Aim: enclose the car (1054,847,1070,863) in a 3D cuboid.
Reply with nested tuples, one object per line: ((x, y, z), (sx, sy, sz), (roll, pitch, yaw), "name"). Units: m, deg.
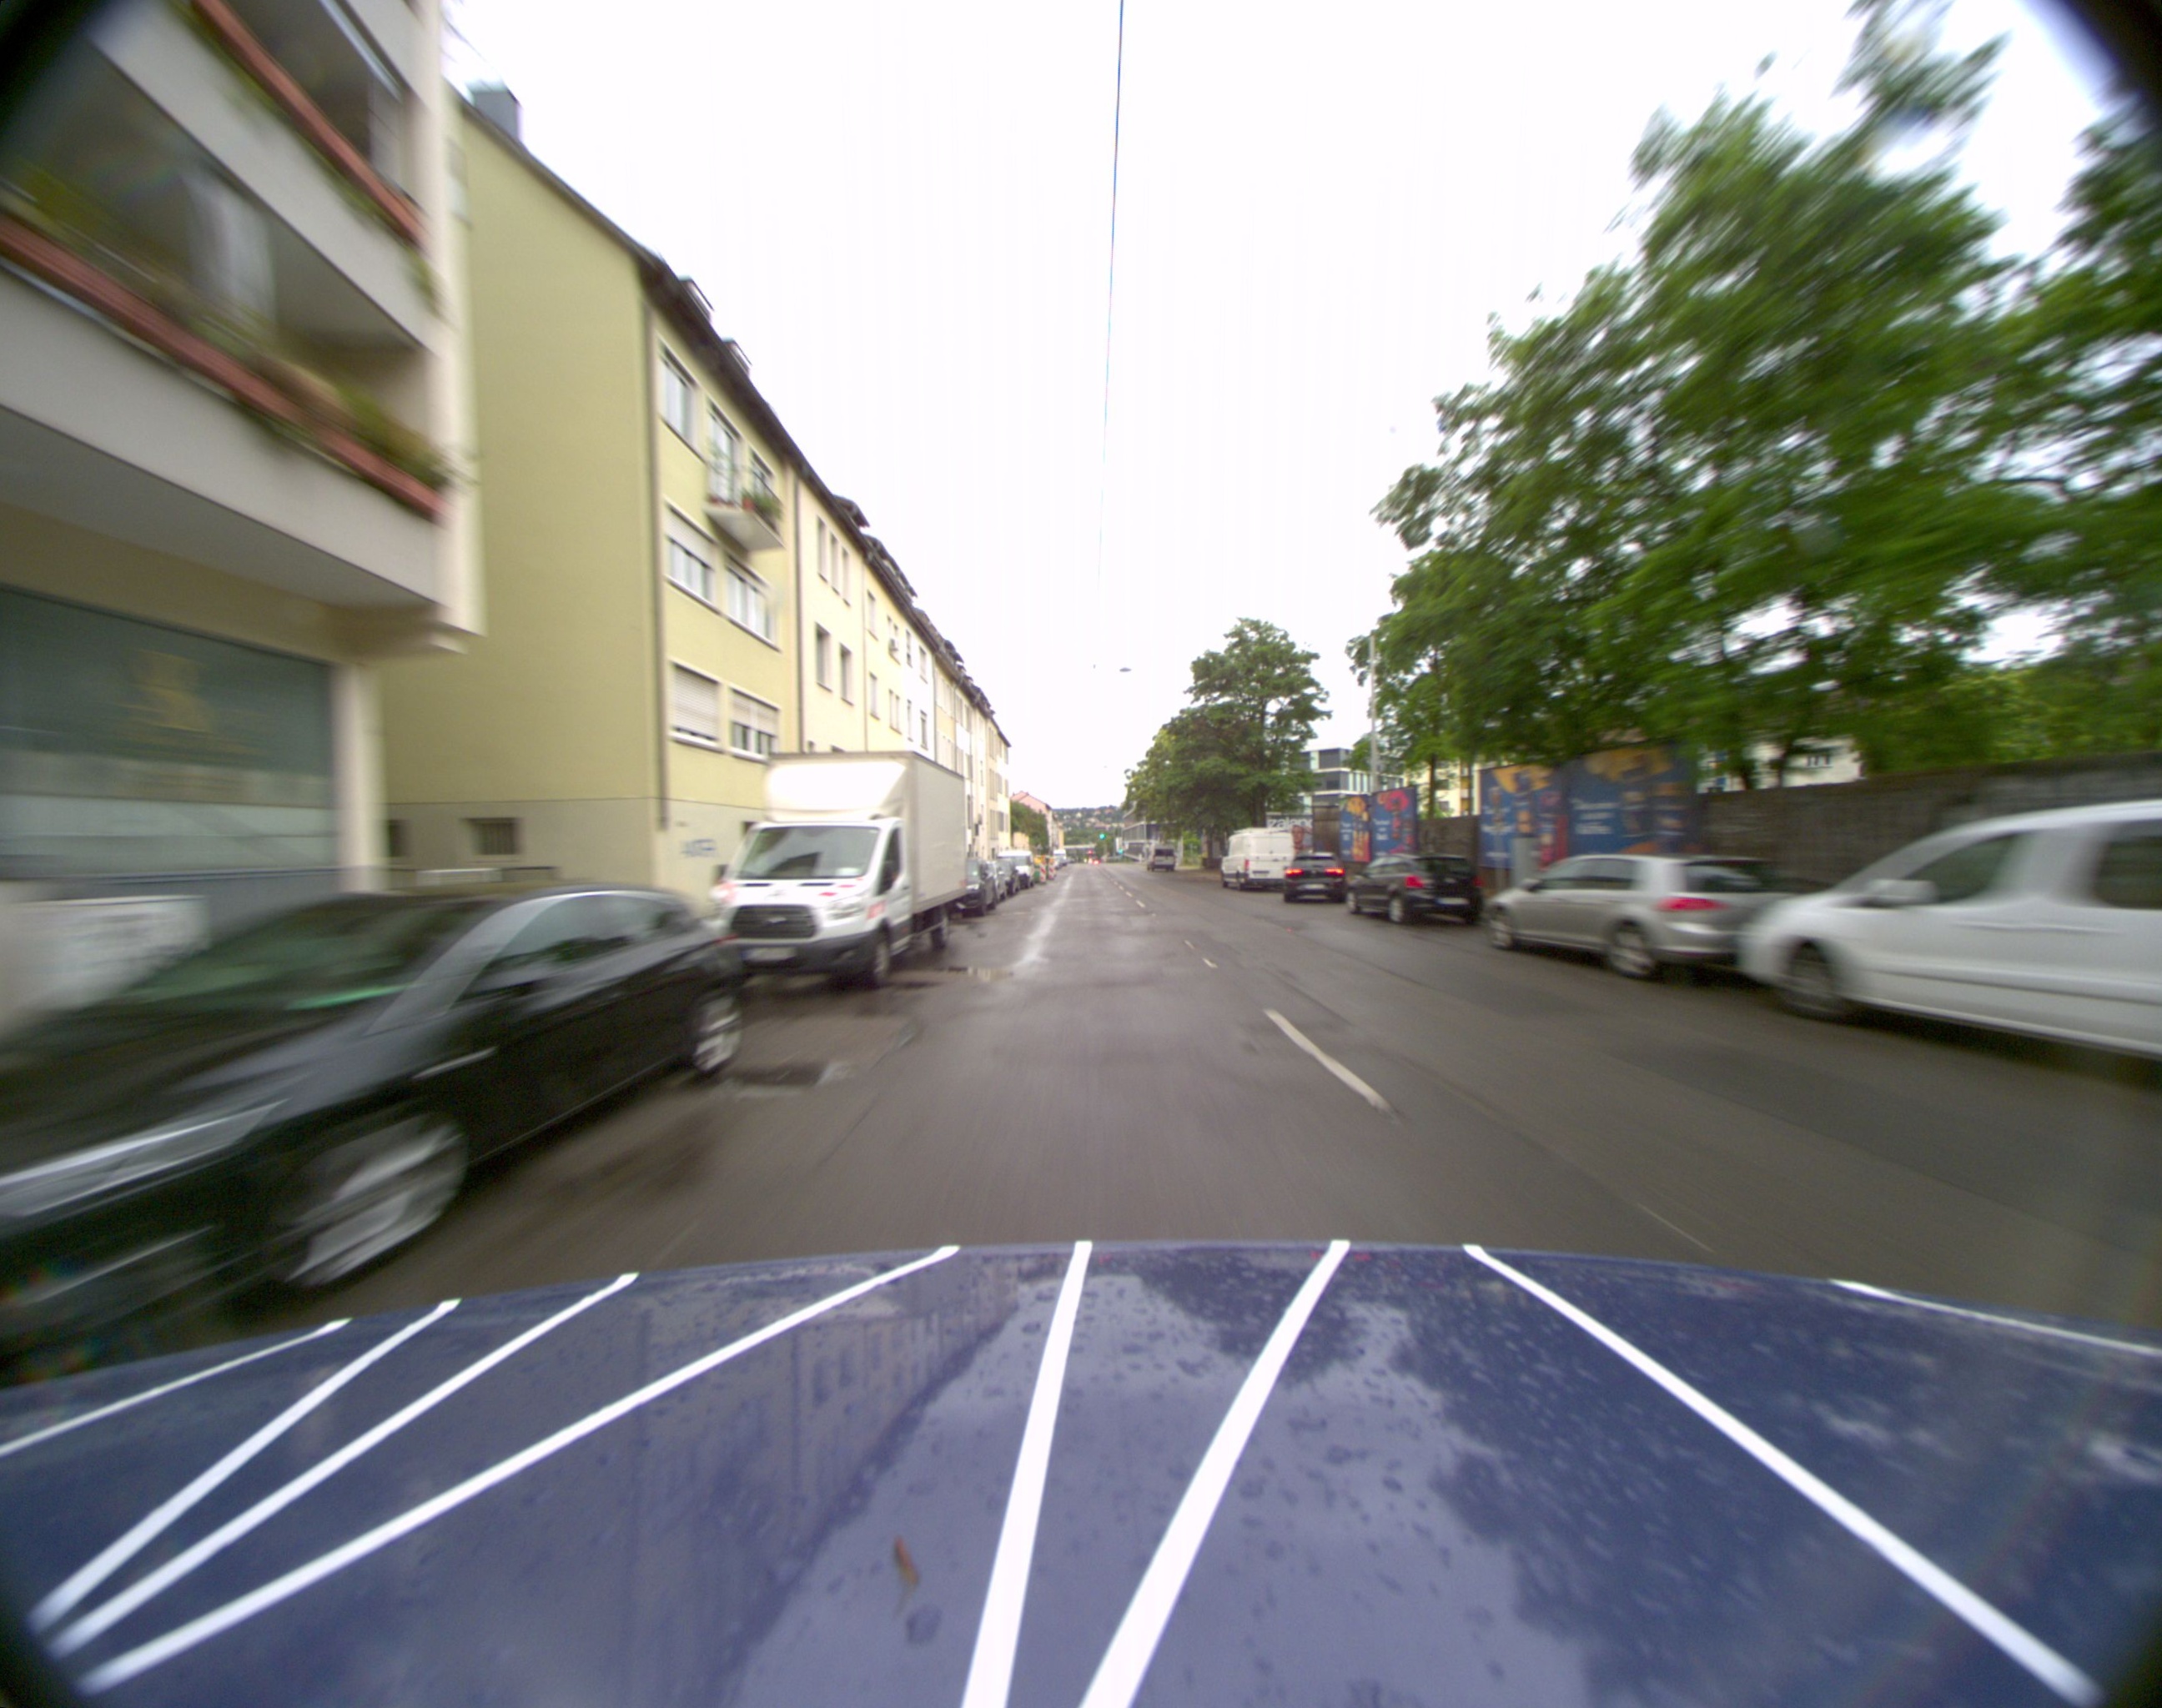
((-3.015, 0.176, 120.688), (2.211, 2.448, 6.080), (-3, -1, 1), "car")

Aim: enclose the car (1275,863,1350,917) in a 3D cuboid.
((6.968, 1.040, 23.255), (1.808, 1.407, 4.388), (-1, 0, 12), "car")

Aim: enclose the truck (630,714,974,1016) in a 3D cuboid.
((-3.466, 0.126, 11.602), (2.475, 3.153, 7.036), (-1, 0, 1), "truck")

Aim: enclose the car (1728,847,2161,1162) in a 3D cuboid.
((7.007, 0.851, 5.032), (1.728, 1.790, 4.343), (0, 0, 0), "car")

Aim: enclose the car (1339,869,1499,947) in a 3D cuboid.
((7.073, 1.063, 16.379), (1.687, 1.390, 3.910), (0, 0, -1), "car")

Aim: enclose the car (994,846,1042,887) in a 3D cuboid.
((-3.090, 0.598, 37.996), (1.822, 1.912, 4.239), (-2, 0, 2), "car")

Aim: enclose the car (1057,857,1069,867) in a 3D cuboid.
((-2.636, 1.214, 112.519), (1.693, 1.445, 4.235), (-3, -1, 0), "car")

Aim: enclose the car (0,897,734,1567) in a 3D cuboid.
((-3.528, 1.071, 3.799), (1.667, 1.413, 4.042), (-1, 1, 0), "car")

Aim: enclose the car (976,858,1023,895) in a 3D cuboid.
((-3.388, 0.918, 32.233), (1.581, 1.462, 3.502), (-1, 0, 0), "car")

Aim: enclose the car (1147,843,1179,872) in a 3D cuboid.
((7.549, 0.331, 70.635), (2.236, 2.563, 6.537), (0, 0, 0), "car")

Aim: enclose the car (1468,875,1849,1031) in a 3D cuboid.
((6.984, 1.069, 9.894), (1.687, 1.454, 4.276), (0, 0, -1), "car")

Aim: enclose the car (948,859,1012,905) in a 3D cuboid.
((-3.544, 0.936, 27.291), (1.667, 1.491, 4.098), (-1, 0, 0), "car")

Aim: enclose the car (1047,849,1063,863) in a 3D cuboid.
((-2.882, 0.195, 84.895), (1.633, 1.445, 3.759), (-3, -1, 0), "car")

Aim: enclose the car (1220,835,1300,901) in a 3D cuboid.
((7.260, 0.554, 31.528), (2.017, 2.472, 5.984), (0, 0, 1), "car")

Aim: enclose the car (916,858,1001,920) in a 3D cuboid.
((-3.321, 0.905, 21.373), (1.667, 1.564, 4.098), (-1, 0, 0), "car")
